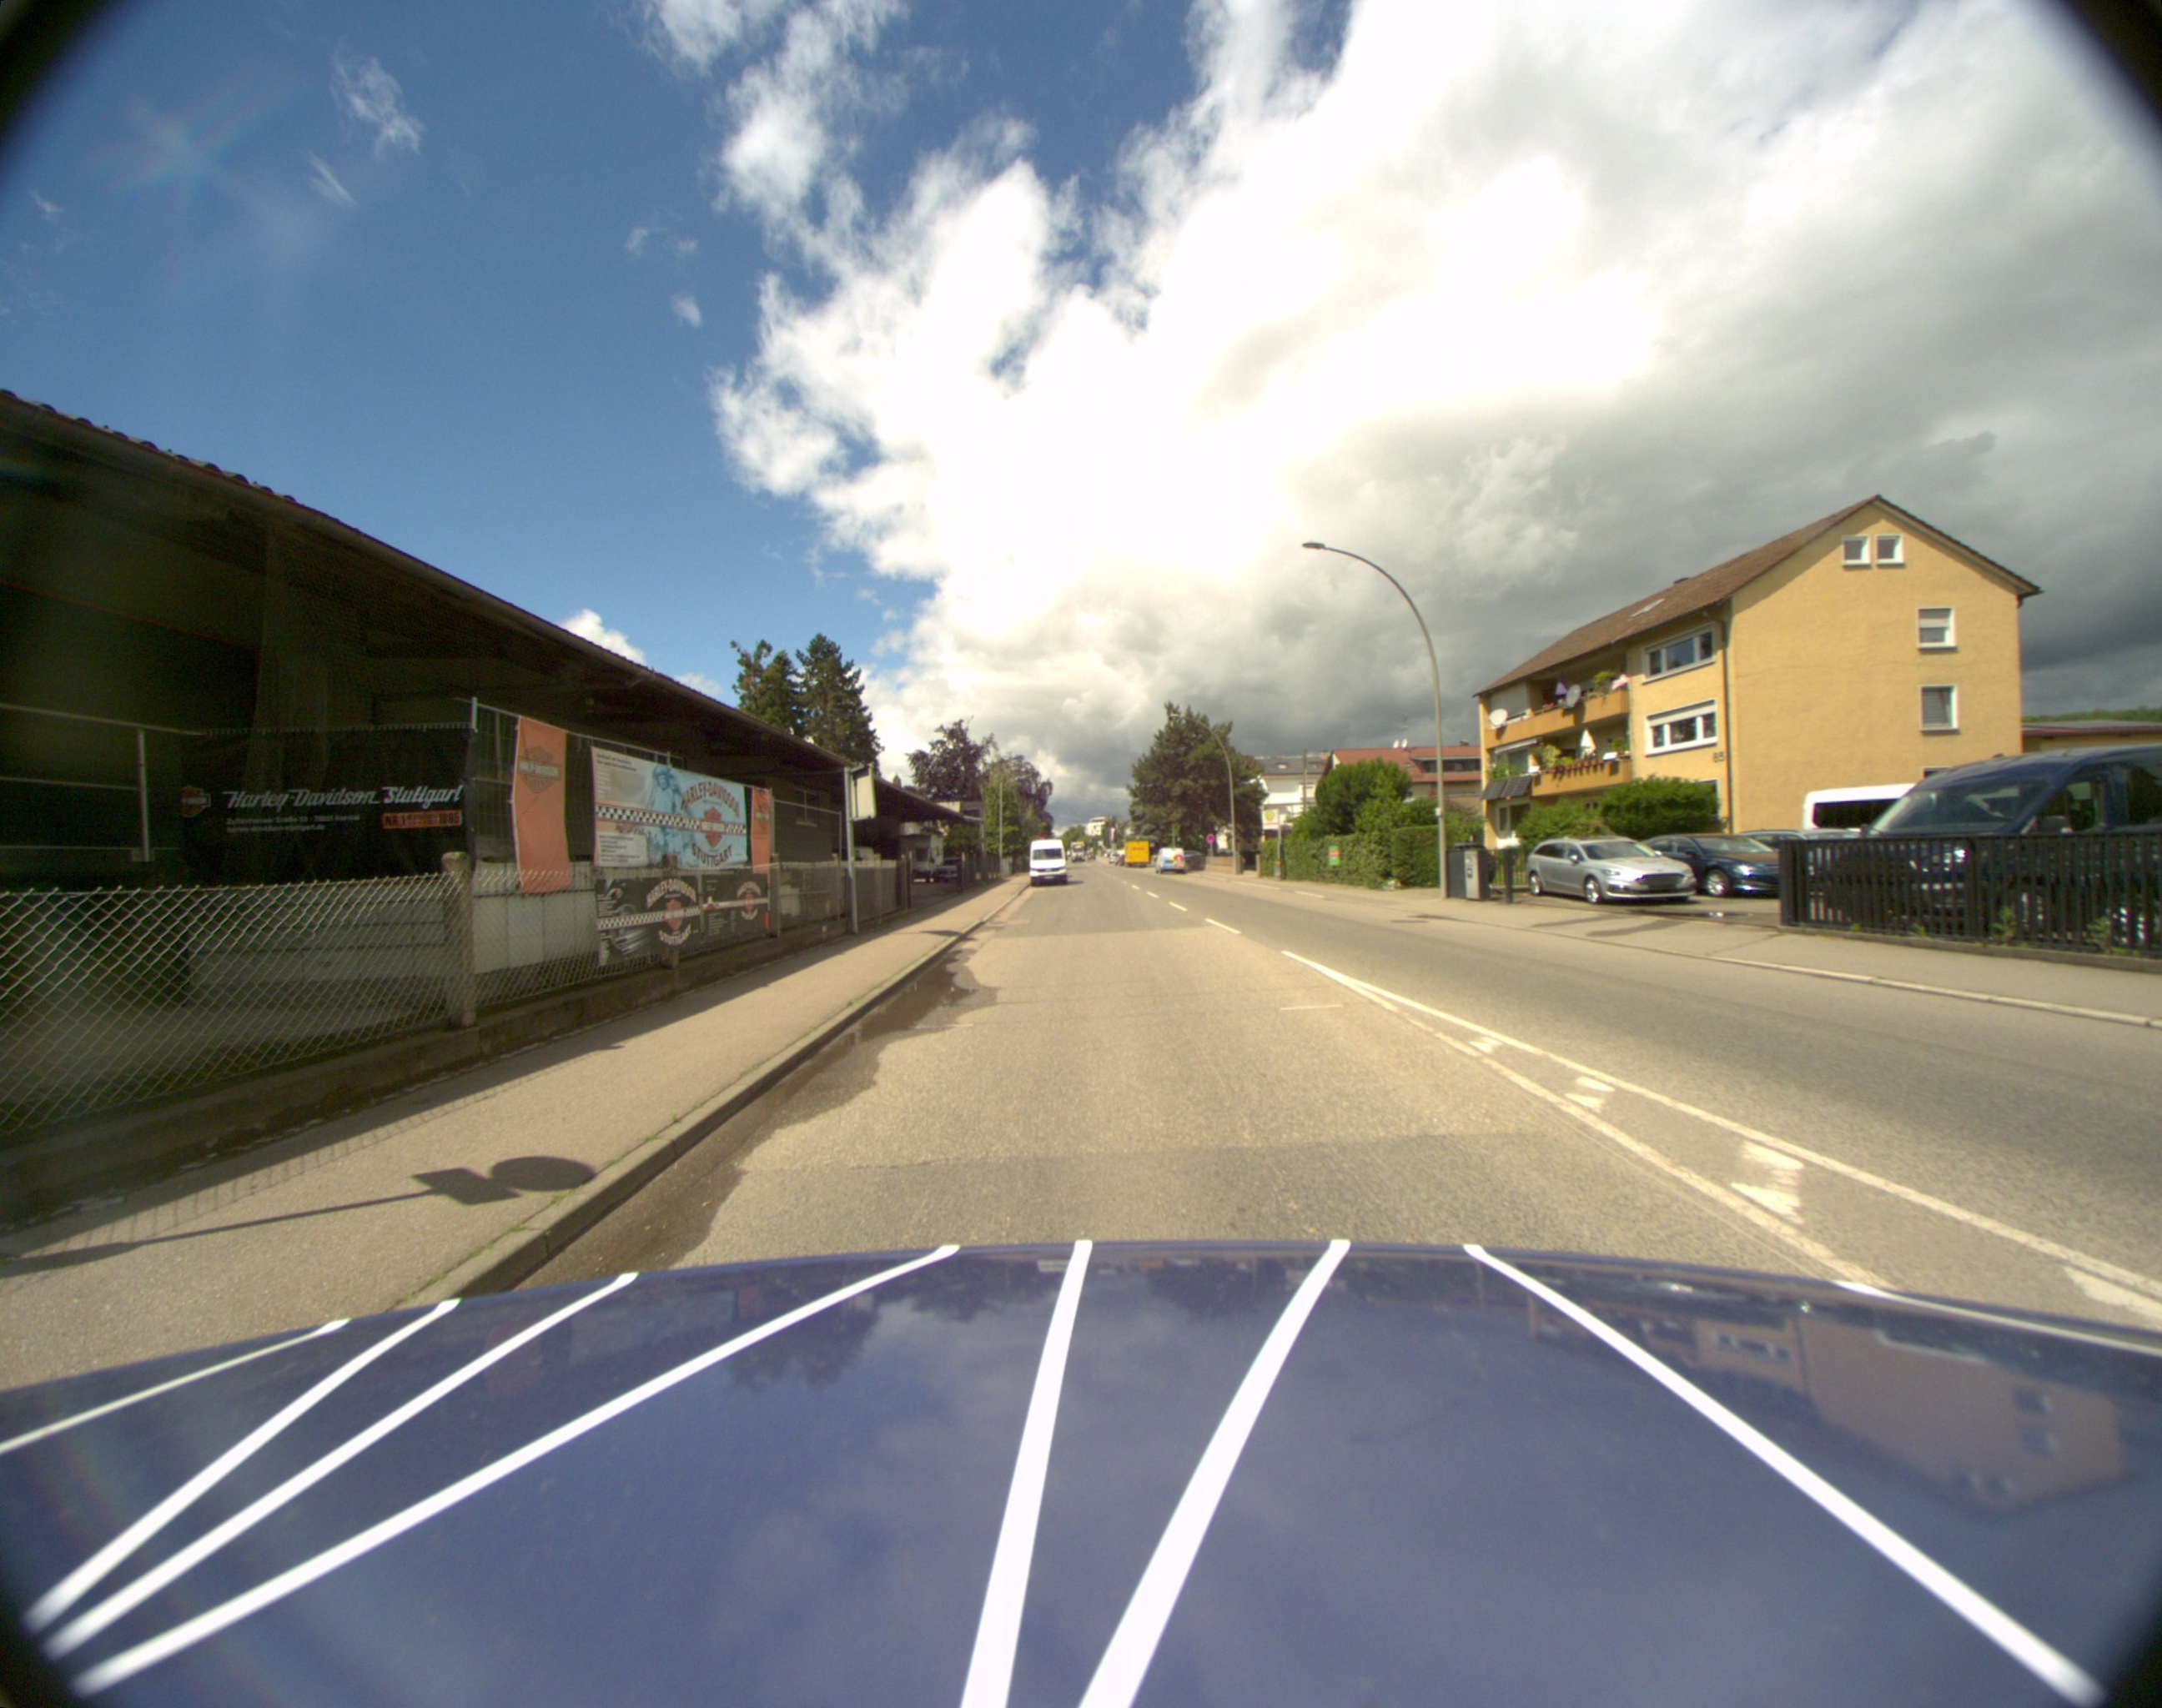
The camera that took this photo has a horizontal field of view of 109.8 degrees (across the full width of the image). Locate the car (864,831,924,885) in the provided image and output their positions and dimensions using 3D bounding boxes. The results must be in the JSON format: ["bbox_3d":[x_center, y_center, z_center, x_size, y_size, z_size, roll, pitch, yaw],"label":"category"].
[{"bbox_3d":[-9.958,0.264,40.908,2.023,2.665,5.497,-2,-1,-2],"label":"car"}]

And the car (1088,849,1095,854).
[{"bbox_3d":[3.298,-0.697,239.873,1.987,1.412,3.999,-1,0,-3],"label":"car"}]

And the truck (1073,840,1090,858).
[{"bbox_3d":[0.084,-1.042,148.271,2.880,3.290,8.605,-4,1,-1],"label":"truck"}]

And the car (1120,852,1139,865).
[{"bbox_3d":[5.956,0.563,93.273,1.999,1.445,4.811,2,0,-1],"label":"car"}]

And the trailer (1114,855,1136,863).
[{"bbox_3d":[5.737,0.668,99.585,2.324,0.985,7.457,0,0,-1],"label":"trailer"}]

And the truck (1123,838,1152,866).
[{"bbox_3d":[6.310,-0.206,85.566,2.330,2.986,7.816,0,0,-2],"label":"truck"}]

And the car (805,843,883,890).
[{"bbox_3d":[-10.478,0.554,34.047,1.999,1.898,4.852,-2,0,-1],"label":"car"}]

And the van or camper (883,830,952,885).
[{"bbox_3d":[-9.920,0.196,46.932,2.889,3.043,6.911,-2,0,-2],"label":"van or camper"}]

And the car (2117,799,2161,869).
[{"bbox_3d":[28.643,-0.534,18.158,1.849,1.781,4.330,-2,0,0],"label":"car"}]

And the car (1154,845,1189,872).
[{"bbox_3d":[6.574,0.356,55.584,1.838,1.842,4.895,1,-1,-1],"label":"car"}]

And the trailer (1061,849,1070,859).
[{"bbox_3d":[-3.581,-0.070,177.288,2.045,2.214,5.078,-1,0,0],"label":"trailer"}]

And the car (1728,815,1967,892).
[{"bbox_3d":[17.865,-0.031,18.067,1.848,1.568,4.334,-1,0,11],"label":"car"}]

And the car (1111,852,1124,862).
[{"bbox_3d":[5.597,0.451,117.262,1.809,1.666,4.127,0,0,-1],"label":"car"}]

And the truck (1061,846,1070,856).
[{"bbox_3d":[-4.611,-0.967,228.890,2.411,2.722,6.639,-4,1,-1],"label":"truck"}]

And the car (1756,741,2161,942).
[{"bbox_3d":[13.827,-0.204,10.924,6.053,2.482,2.477,-2,0,-1],"label":"car"}]

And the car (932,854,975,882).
[{"bbox_3d":[-7.435,0.808,44.752,1.769,1.480,4.926,-2,0,-1],"label":"car"}]

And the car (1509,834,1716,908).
[{"bbox_3d":[12.456,0.342,18.346,1.997,1.477,5.344,-2,0,10],"label":"car"}]

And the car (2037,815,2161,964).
[{"bbox_3d":[12.518,0.348,6.964,2.037,1.585,4.283,-2,0,-4],"label":"car"}]

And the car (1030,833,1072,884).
[{"bbox_3d":[-1.708,0.225,43.771,2.221,2.673,6.656,-1,0,-2],"label":"car"}]

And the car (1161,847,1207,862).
[{"bbox_3d":[11.928,0.099,87.994,5.021,1.543,1.972,-2,1,-2],"label":"car"}]

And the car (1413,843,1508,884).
[{"bbox_3d":[14.268,0.319,28.840,1.848,1.418,4.332,-2,0,7],"label":"car"}]

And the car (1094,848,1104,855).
[{"bbox_3d":[4.015,-0.473,171.836,1.906,1.509,4.317,-1,0,-2],"label":"car"}]

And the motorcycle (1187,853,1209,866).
[{"bbox_3d":[10.570,0.514,68.474,1.872,1.159,0.825,-2,0,16],"label":"motorcycle"}]

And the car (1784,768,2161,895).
[{"bbox_3d":[20.574,-0.449,17.933,2.418,2.481,6.135,0,0,2],"label":"car"}]

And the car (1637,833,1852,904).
[{"bbox_3d":[15.318,0.290,17.910,1.848,1.418,4.334,-1,0,11],"label":"car"}]

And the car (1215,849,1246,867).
[{"bbox_3d":[13.684,0.352,69.663,1.772,1.534,4.086,-2,0,-5],"label":"car"}]
